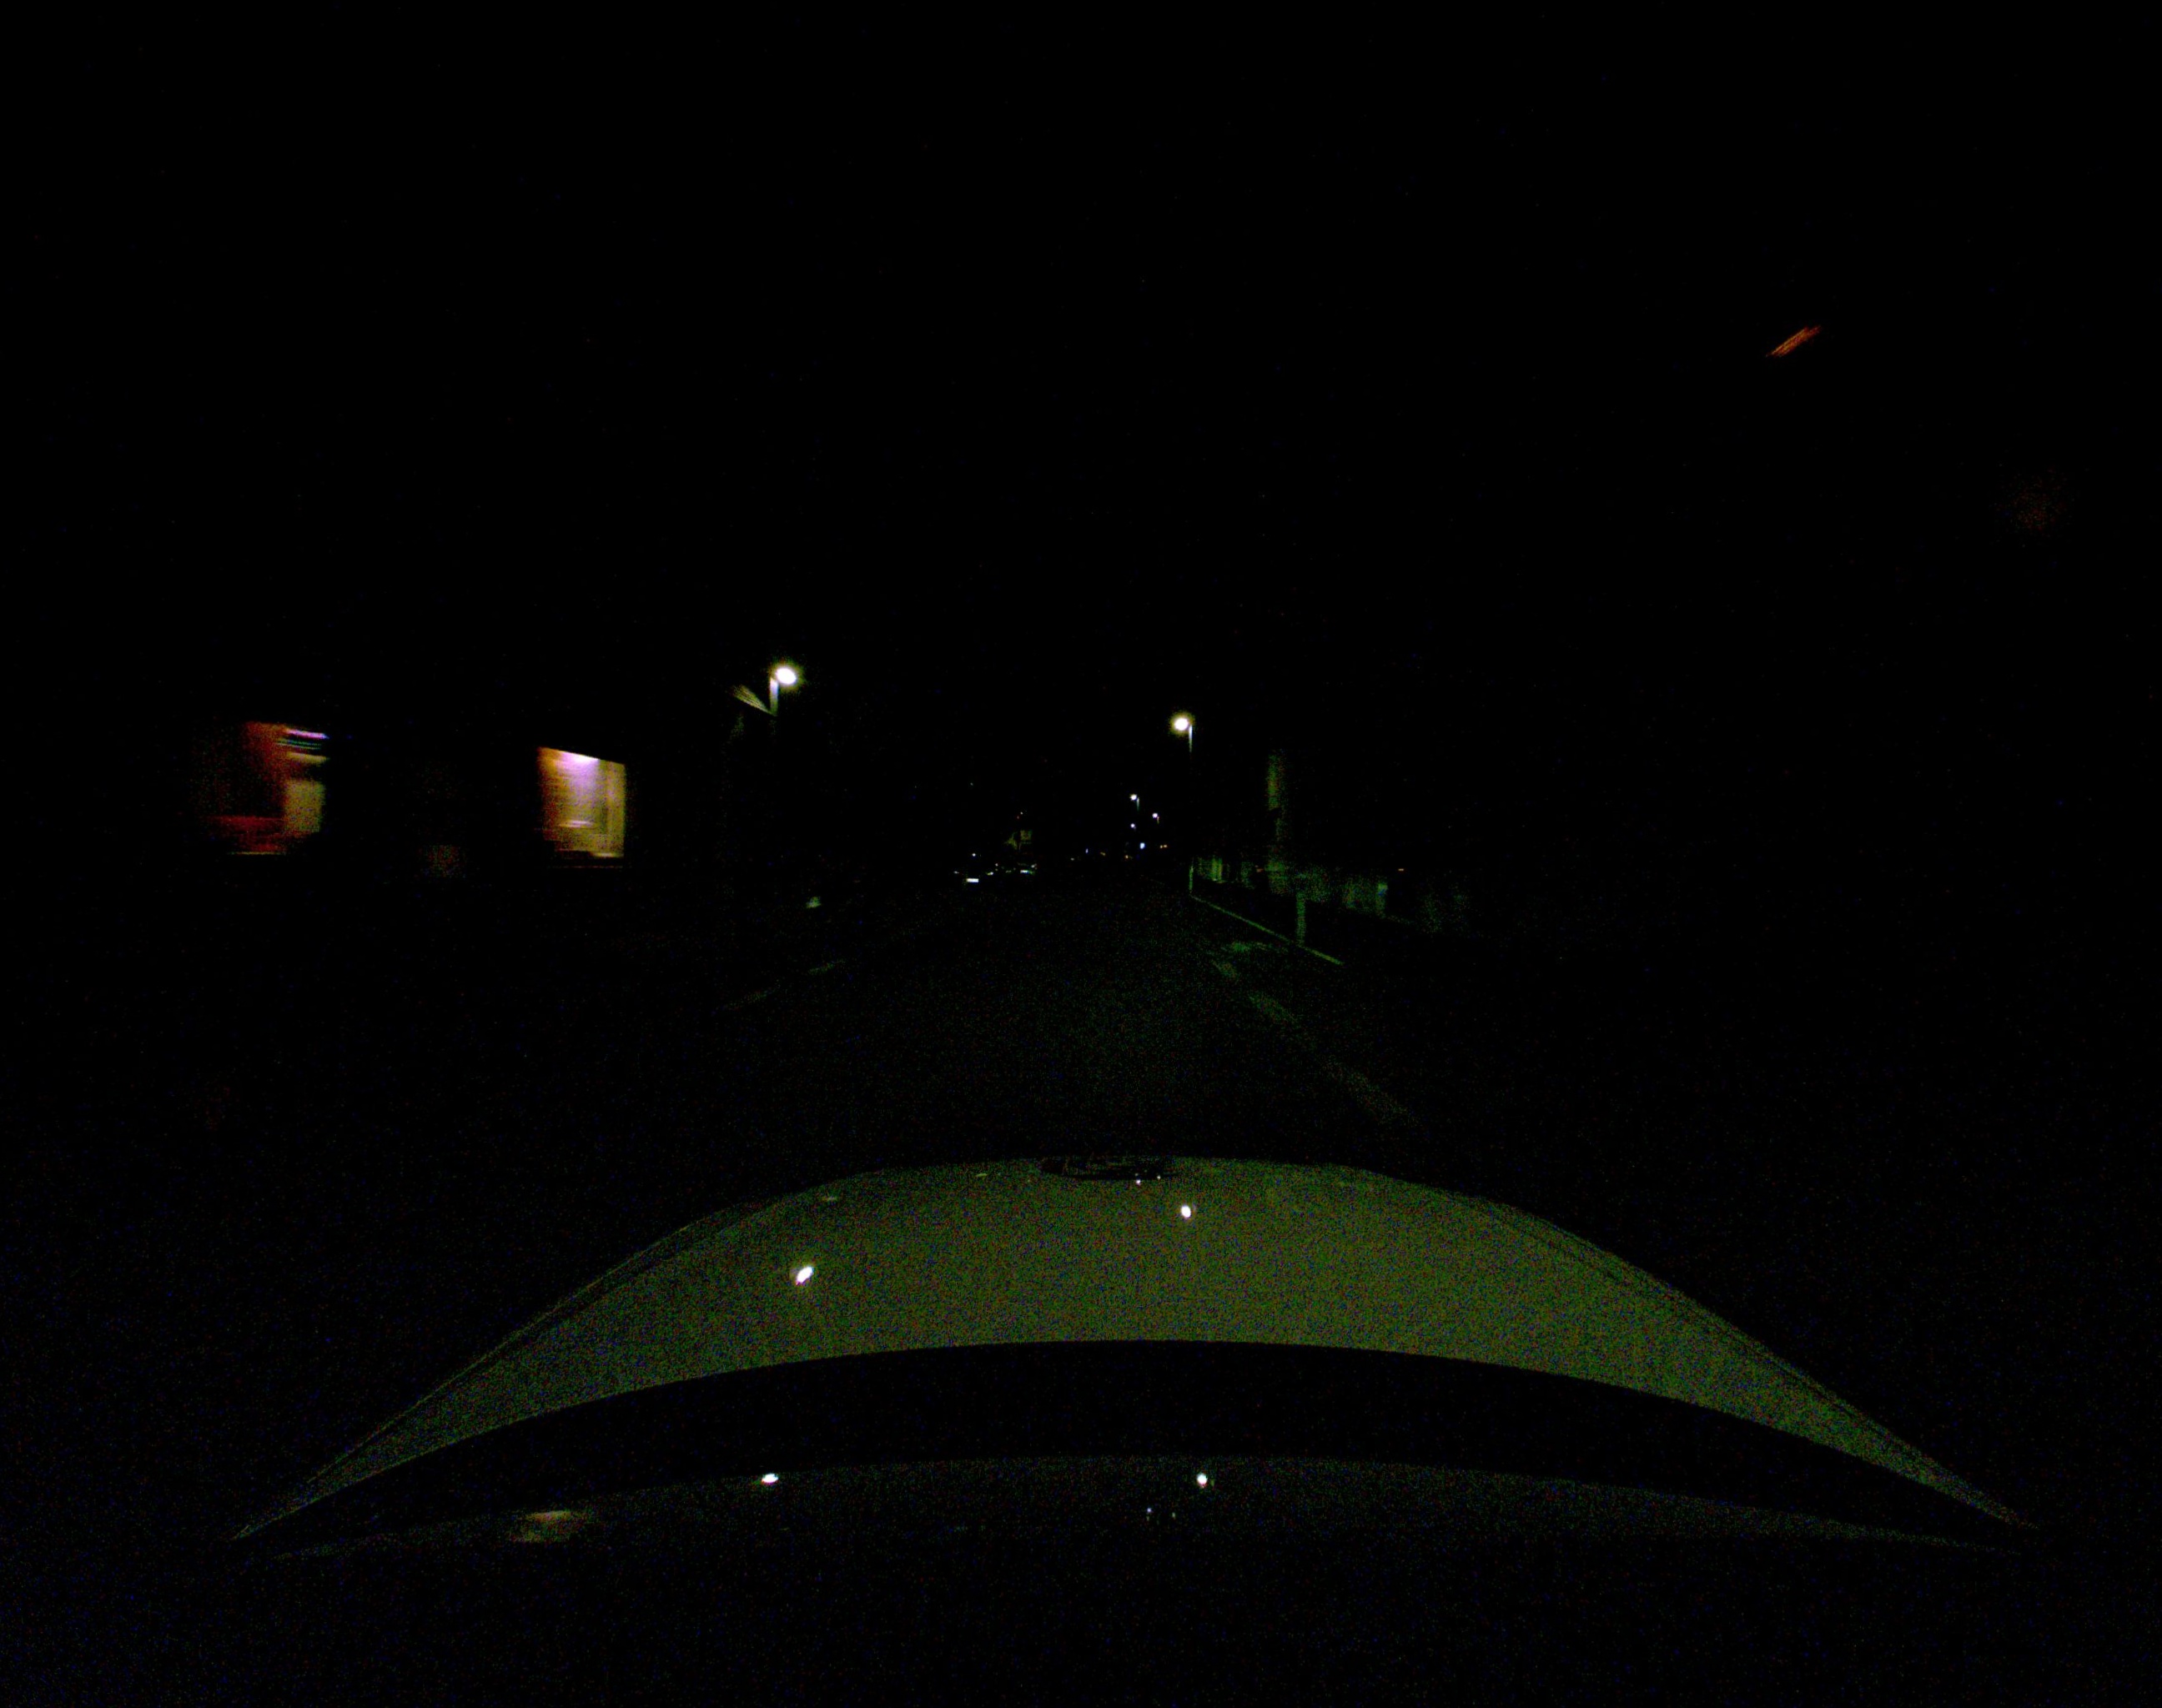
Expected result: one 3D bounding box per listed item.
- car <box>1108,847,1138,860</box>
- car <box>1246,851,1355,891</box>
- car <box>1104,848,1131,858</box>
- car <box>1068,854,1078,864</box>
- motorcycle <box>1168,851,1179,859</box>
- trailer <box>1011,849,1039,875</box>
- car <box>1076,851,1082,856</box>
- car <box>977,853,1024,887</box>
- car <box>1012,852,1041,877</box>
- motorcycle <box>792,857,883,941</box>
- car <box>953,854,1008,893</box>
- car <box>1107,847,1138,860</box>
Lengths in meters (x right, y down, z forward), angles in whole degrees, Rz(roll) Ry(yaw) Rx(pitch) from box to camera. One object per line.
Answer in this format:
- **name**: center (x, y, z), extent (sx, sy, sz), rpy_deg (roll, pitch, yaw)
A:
- **car**: center (7.363, -0.096, 142.661), extent (5.167, 2.013, 2.101), rpy_deg (-2, 0, -1)
- **car**: center (8.179, 0.620, 30.585), extent (3.695, 1.473, 1.732), rpy_deg (0, 0, 3)
- **car**: center (7.375, -0.141, 164.370), extent (5.150, 1.887, 2.108), rpy_deg (-2, 0, 10)
- **car**: center (-1.588, 0.954, 163.450), extent (1.819, 1.986, 4.464), rpy_deg (1, -1, 0)
- **motorcycle**: center (16.503, 0.193, 145.512), extent (1.060, 1.326, 2.722), rpy_deg (0, 1, 24)
- **trailer**: center (-3.889, 0.529, 56.594), extent (1.442, 1.688, 3.429), rpy_deg (2, 0, 4)
- **car**: center (-0.473, -0.068, 212.447), extent (1.678, 1.331, 3.598), rpy_deg (0, 0, 0)
- **car**: center (-3.844, 0.720, 39.393), extent (1.760, 1.519, 4.279), rpy_deg (1, 0, 1)
- **car**: center (-3.574, 0.689, 53.414), extent (1.666, 1.522, 2.978), rpy_deg (2, 0, 0)
- **motorcycle**: center (-4.520, 0.785, 15.318), extent (0.741, 1.452, 2.201), rpy_deg (-1, 0, 9)
- **car**: center (-4.154, 0.770, 34.286), extent (1.681, 1.510, 4.280), rpy_deg (0, 0, 2)
- **car**: center (7.039, -0.054, 139.598), extent (5.167, 2.013, 2.101), rpy_deg (-2, 0, -1)
